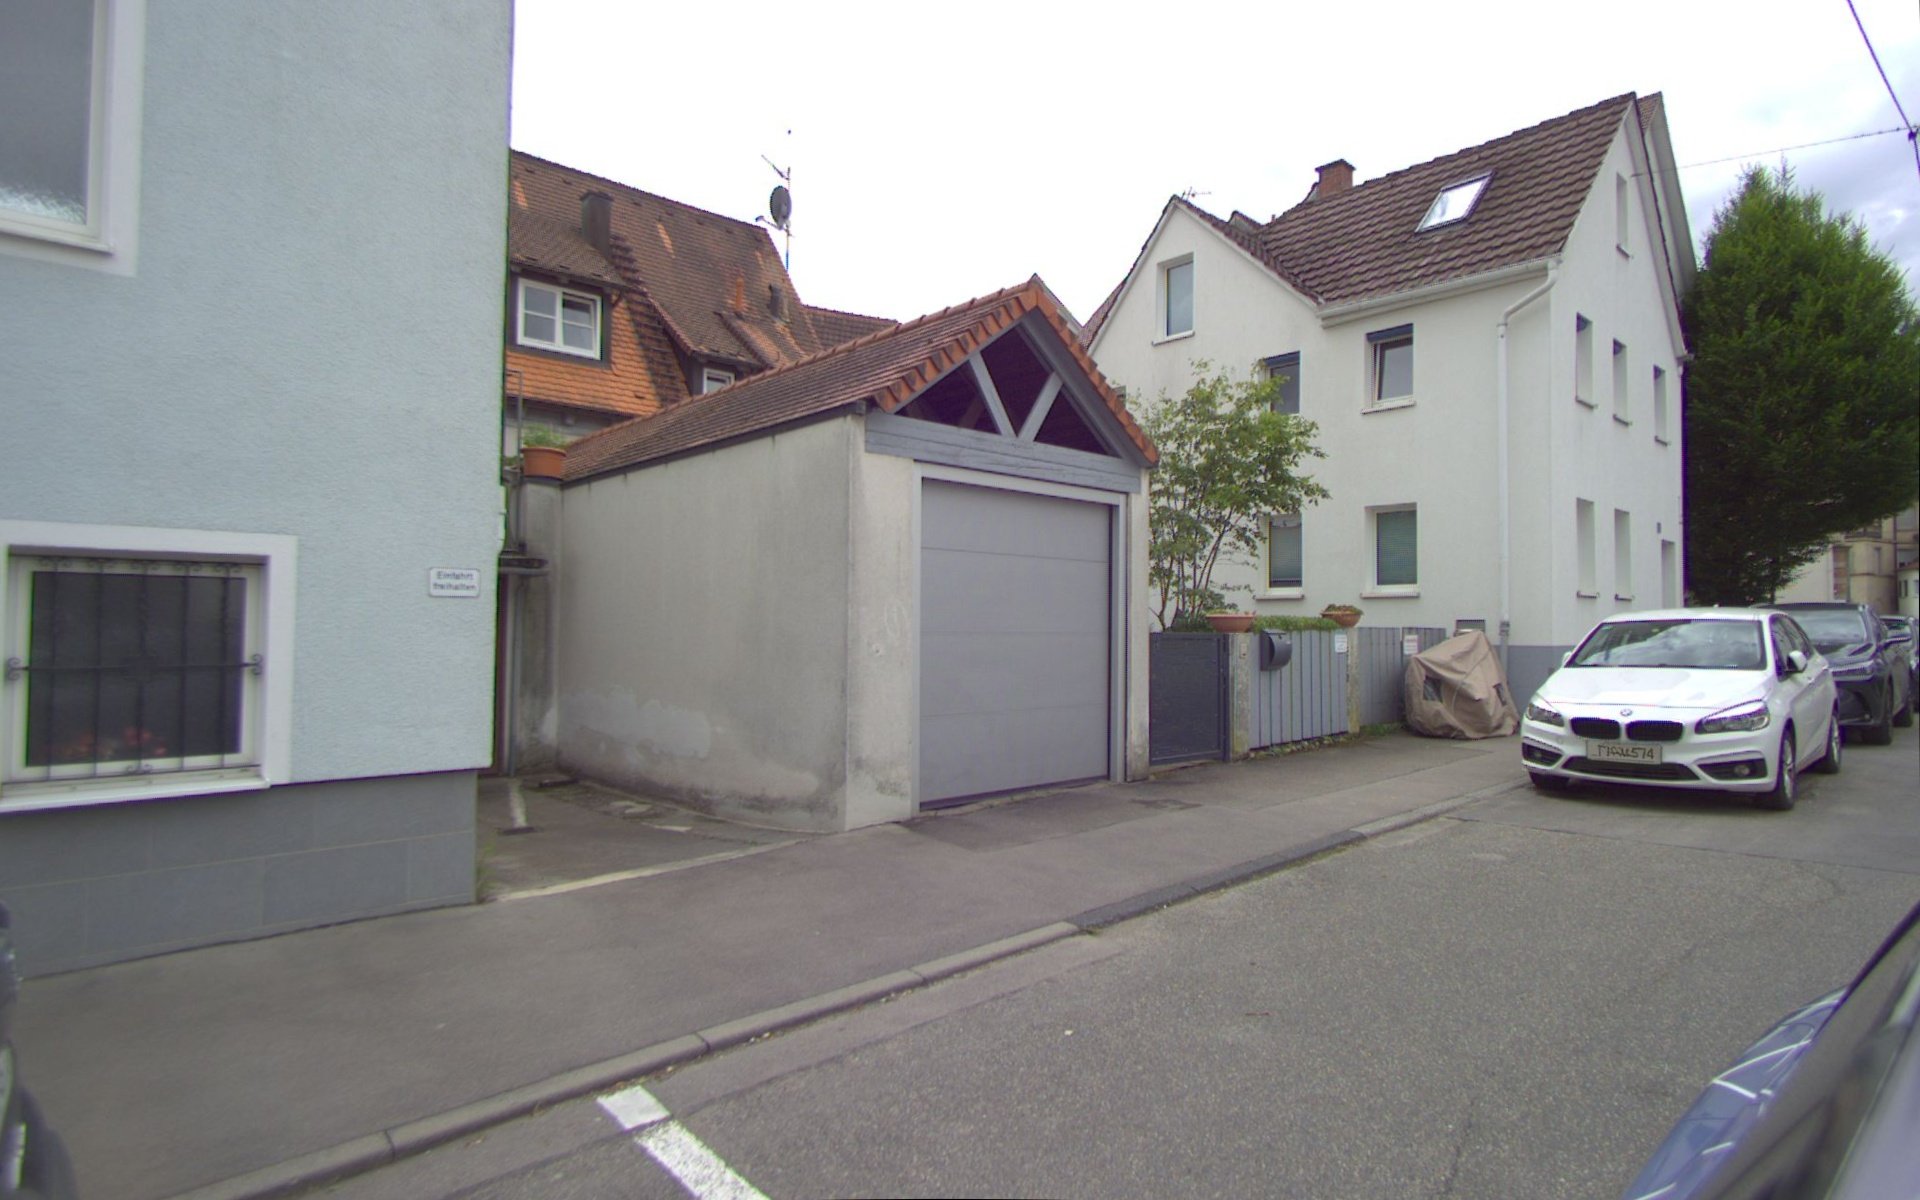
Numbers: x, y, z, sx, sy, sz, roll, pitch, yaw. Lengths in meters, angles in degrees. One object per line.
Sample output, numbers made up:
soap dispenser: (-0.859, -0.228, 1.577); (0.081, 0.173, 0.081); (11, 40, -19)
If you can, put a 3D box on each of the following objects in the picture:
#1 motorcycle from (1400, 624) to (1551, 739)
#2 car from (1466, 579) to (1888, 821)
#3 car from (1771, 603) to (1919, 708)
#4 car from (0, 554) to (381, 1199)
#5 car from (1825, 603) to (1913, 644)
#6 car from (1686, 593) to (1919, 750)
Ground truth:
motorcycle: (6.158, 0.914, 12.032); (2.131, 1.187, 0.820); (0, 0, -39)
car: (6.668, 0.724, 9.184); (4.792, 1.636, 1.996); (1, -2, -41)
car: (15.360, 0.843, 16.958); (4.736, 1.527, 1.951); (1, -2, -41)
car: (-2.827, 0.803, 0.219); (4.455, 1.649, 1.756); (0, -2, -41)
car: (42.053, 1.100, 46.929); (1.812, 1.815, 4.180); (-1, -2, 25)
car: (11.037, 0.761, 12.972); (4.818, 1.654, 1.865); (0, -1, -43)
